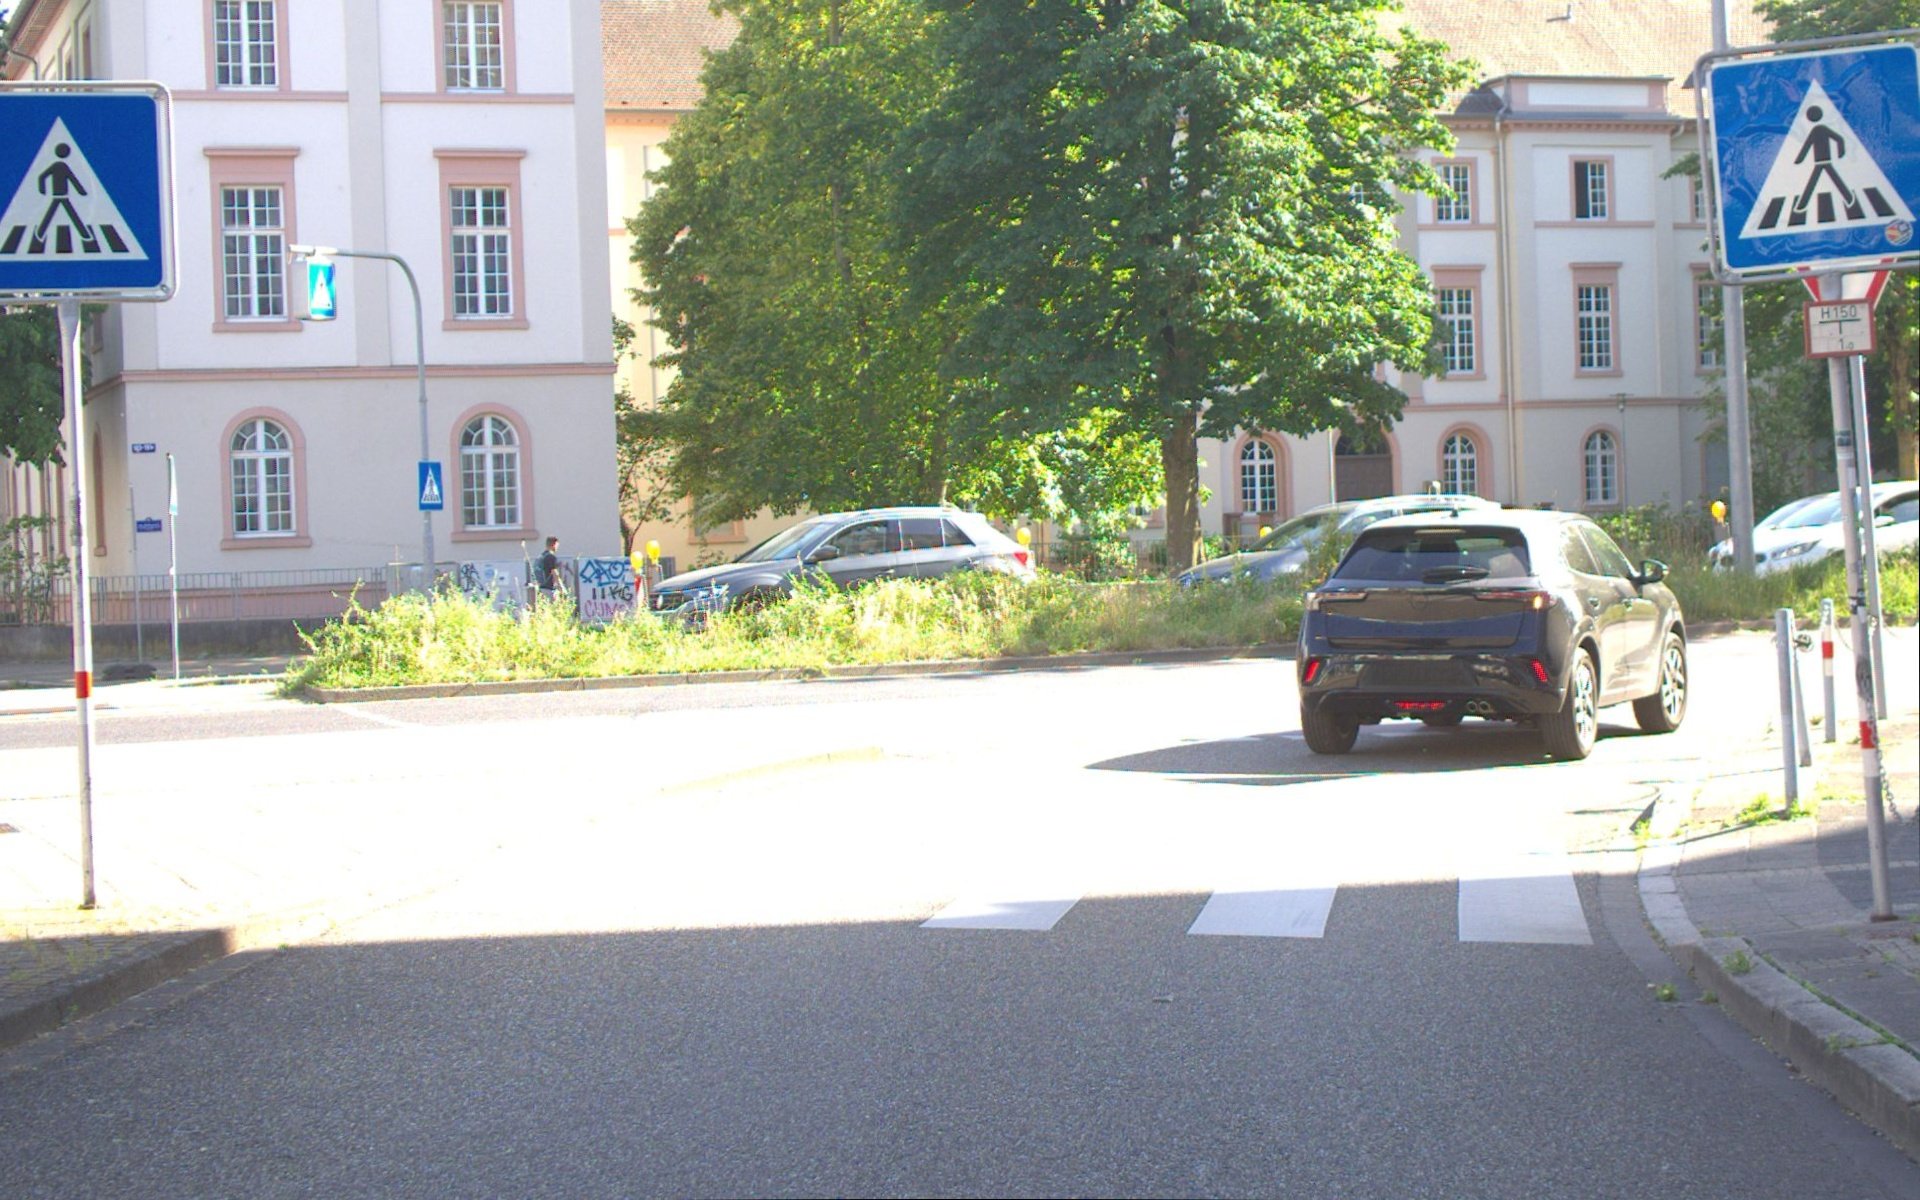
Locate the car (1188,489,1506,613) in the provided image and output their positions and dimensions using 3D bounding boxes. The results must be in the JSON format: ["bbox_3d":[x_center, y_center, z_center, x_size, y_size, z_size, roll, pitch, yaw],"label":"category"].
[{"bbox_3d":[5.503,-0.708,48.835,4.114,1.596,1.822,-2,1,-26],"label":"car"}]

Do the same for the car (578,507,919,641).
[{"bbox_3d":[-2.813,-0.365,45.836,4.114,1.596,1.822,-2,1,-26],"label":"car"}]

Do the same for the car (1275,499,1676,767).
[{"bbox_3d":[3.419,0.149,22.300,1.747,1.568,3.554,0,2,23],"label":"car"}]

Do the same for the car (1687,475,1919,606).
[{"bbox_3d":[11.230,-0.767,42.331,4.174,1.503,1.822,-2,1,-26],"label":"car"}]

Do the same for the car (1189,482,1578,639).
[{"bbox_3d":[4.882,-0.471,39.637,3.986,1.638,1.923,-2,1,-24],"label":"car"}]

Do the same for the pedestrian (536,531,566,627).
[{"bbox_3d":[-6.864,-0.347,57.729,0.440,1.610,0.467,1,0,-13],"label":"pedestrian"}]

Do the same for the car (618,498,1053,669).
[{"bbox_3d":[-1.301,-0.198,35.953,4.114,1.596,1.822,-2,1,-26],"label":"car"}]

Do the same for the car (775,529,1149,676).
[{"bbox_3d":[0.032,0.006,41.791,4.114,1.596,1.822,-2,1,-26],"label":"car"}]
